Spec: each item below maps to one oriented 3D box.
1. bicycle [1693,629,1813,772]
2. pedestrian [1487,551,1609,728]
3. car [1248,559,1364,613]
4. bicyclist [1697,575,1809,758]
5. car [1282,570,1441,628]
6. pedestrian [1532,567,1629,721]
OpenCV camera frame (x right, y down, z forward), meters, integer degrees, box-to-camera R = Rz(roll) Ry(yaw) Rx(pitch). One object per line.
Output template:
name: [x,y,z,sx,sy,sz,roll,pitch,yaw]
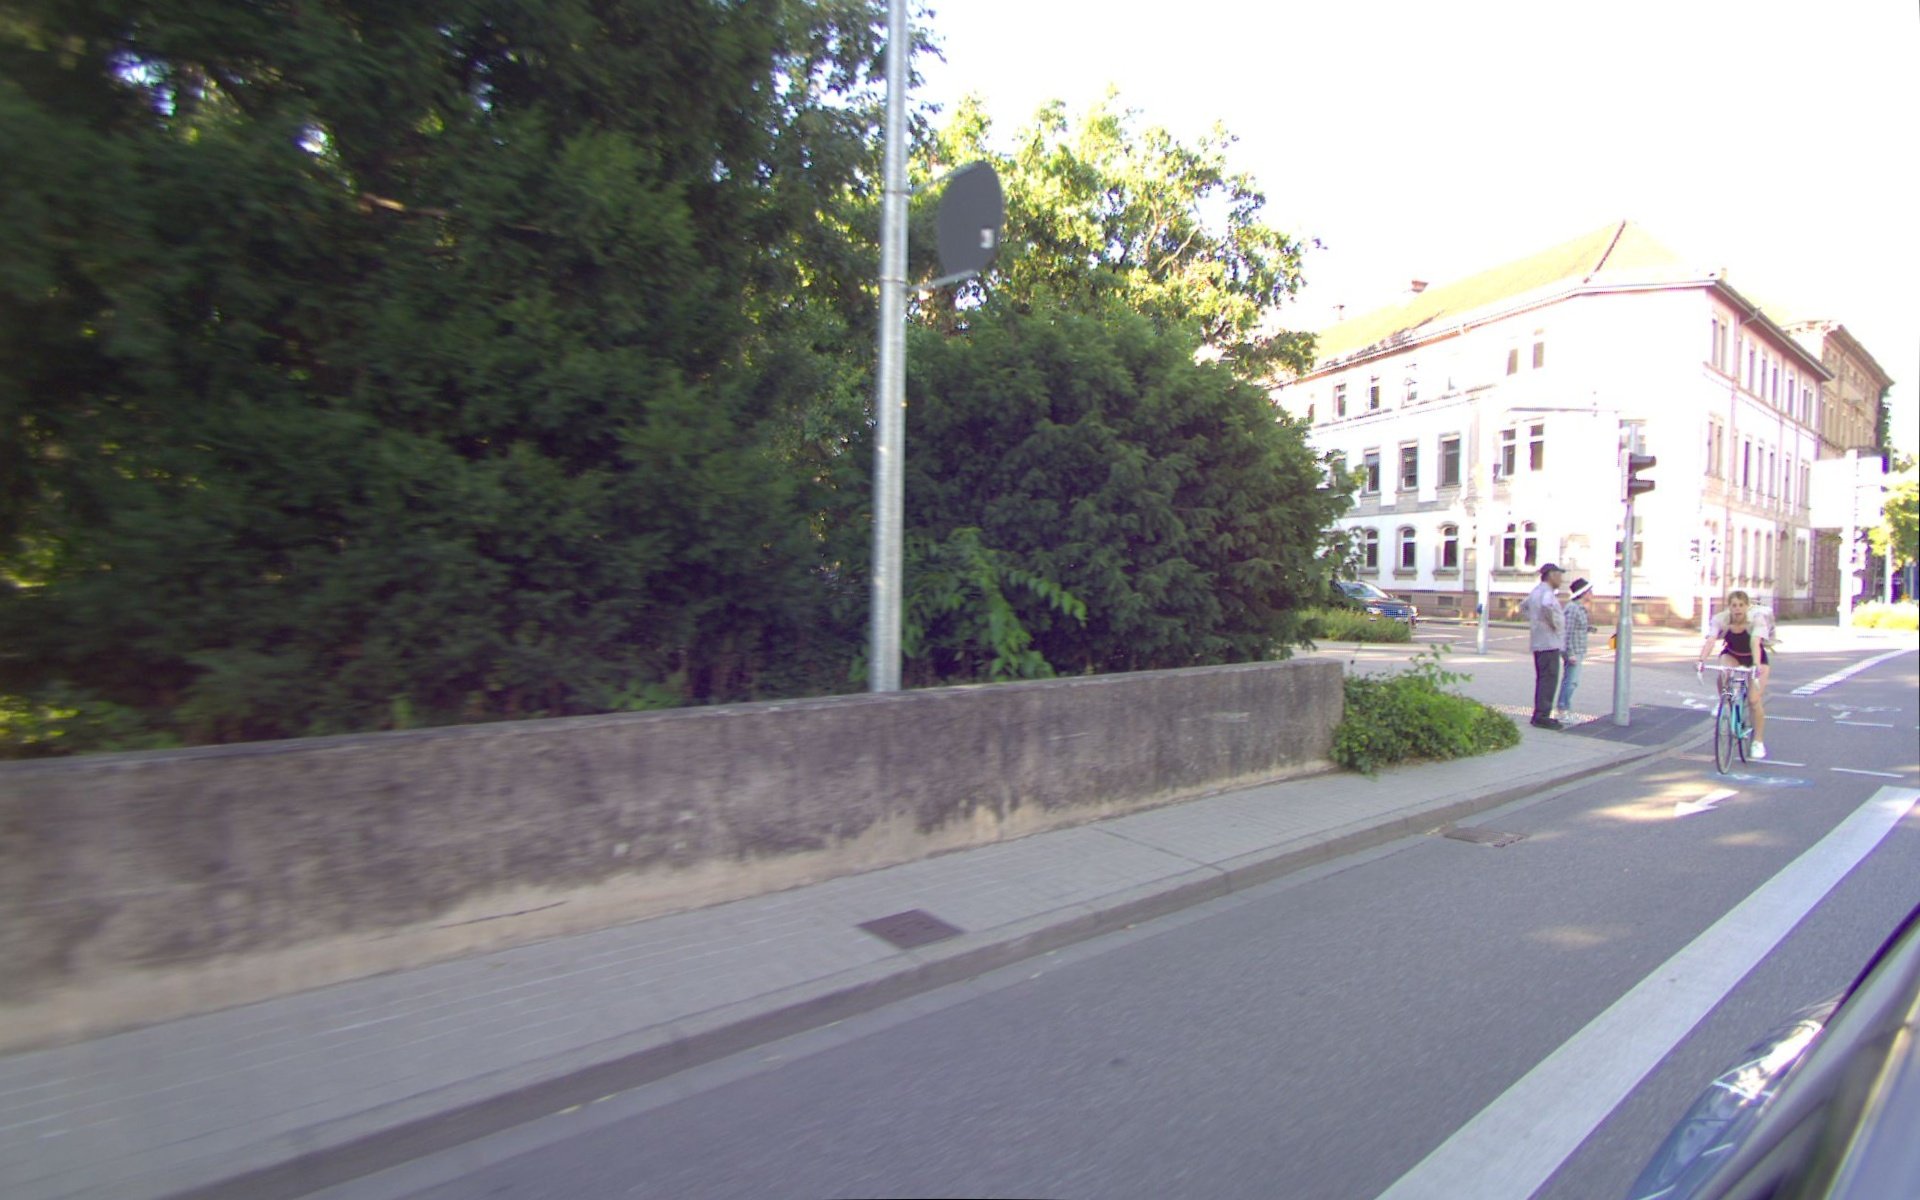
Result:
bicycle: [7.120,0.842,9.060,1.810,1.111,0.521,0,0,-41]
pedestrian: [6.475,0.395,11.205,0.847,1.824,0.903,3,3,15]
car: [12.787,-0.558,37.671,1.907,1.827,4.258,2,1,-16]
bicyclist: [7.038,0.548,8.970,1.062,1.509,0.553,0,1,-41]
car: [11.554,-0.091,29.500,1.863,1.492,4.613,0,2,-16]
pedestrian: [7.139,0.471,11.638,0.765,1.656,0.759,4,3,40]
